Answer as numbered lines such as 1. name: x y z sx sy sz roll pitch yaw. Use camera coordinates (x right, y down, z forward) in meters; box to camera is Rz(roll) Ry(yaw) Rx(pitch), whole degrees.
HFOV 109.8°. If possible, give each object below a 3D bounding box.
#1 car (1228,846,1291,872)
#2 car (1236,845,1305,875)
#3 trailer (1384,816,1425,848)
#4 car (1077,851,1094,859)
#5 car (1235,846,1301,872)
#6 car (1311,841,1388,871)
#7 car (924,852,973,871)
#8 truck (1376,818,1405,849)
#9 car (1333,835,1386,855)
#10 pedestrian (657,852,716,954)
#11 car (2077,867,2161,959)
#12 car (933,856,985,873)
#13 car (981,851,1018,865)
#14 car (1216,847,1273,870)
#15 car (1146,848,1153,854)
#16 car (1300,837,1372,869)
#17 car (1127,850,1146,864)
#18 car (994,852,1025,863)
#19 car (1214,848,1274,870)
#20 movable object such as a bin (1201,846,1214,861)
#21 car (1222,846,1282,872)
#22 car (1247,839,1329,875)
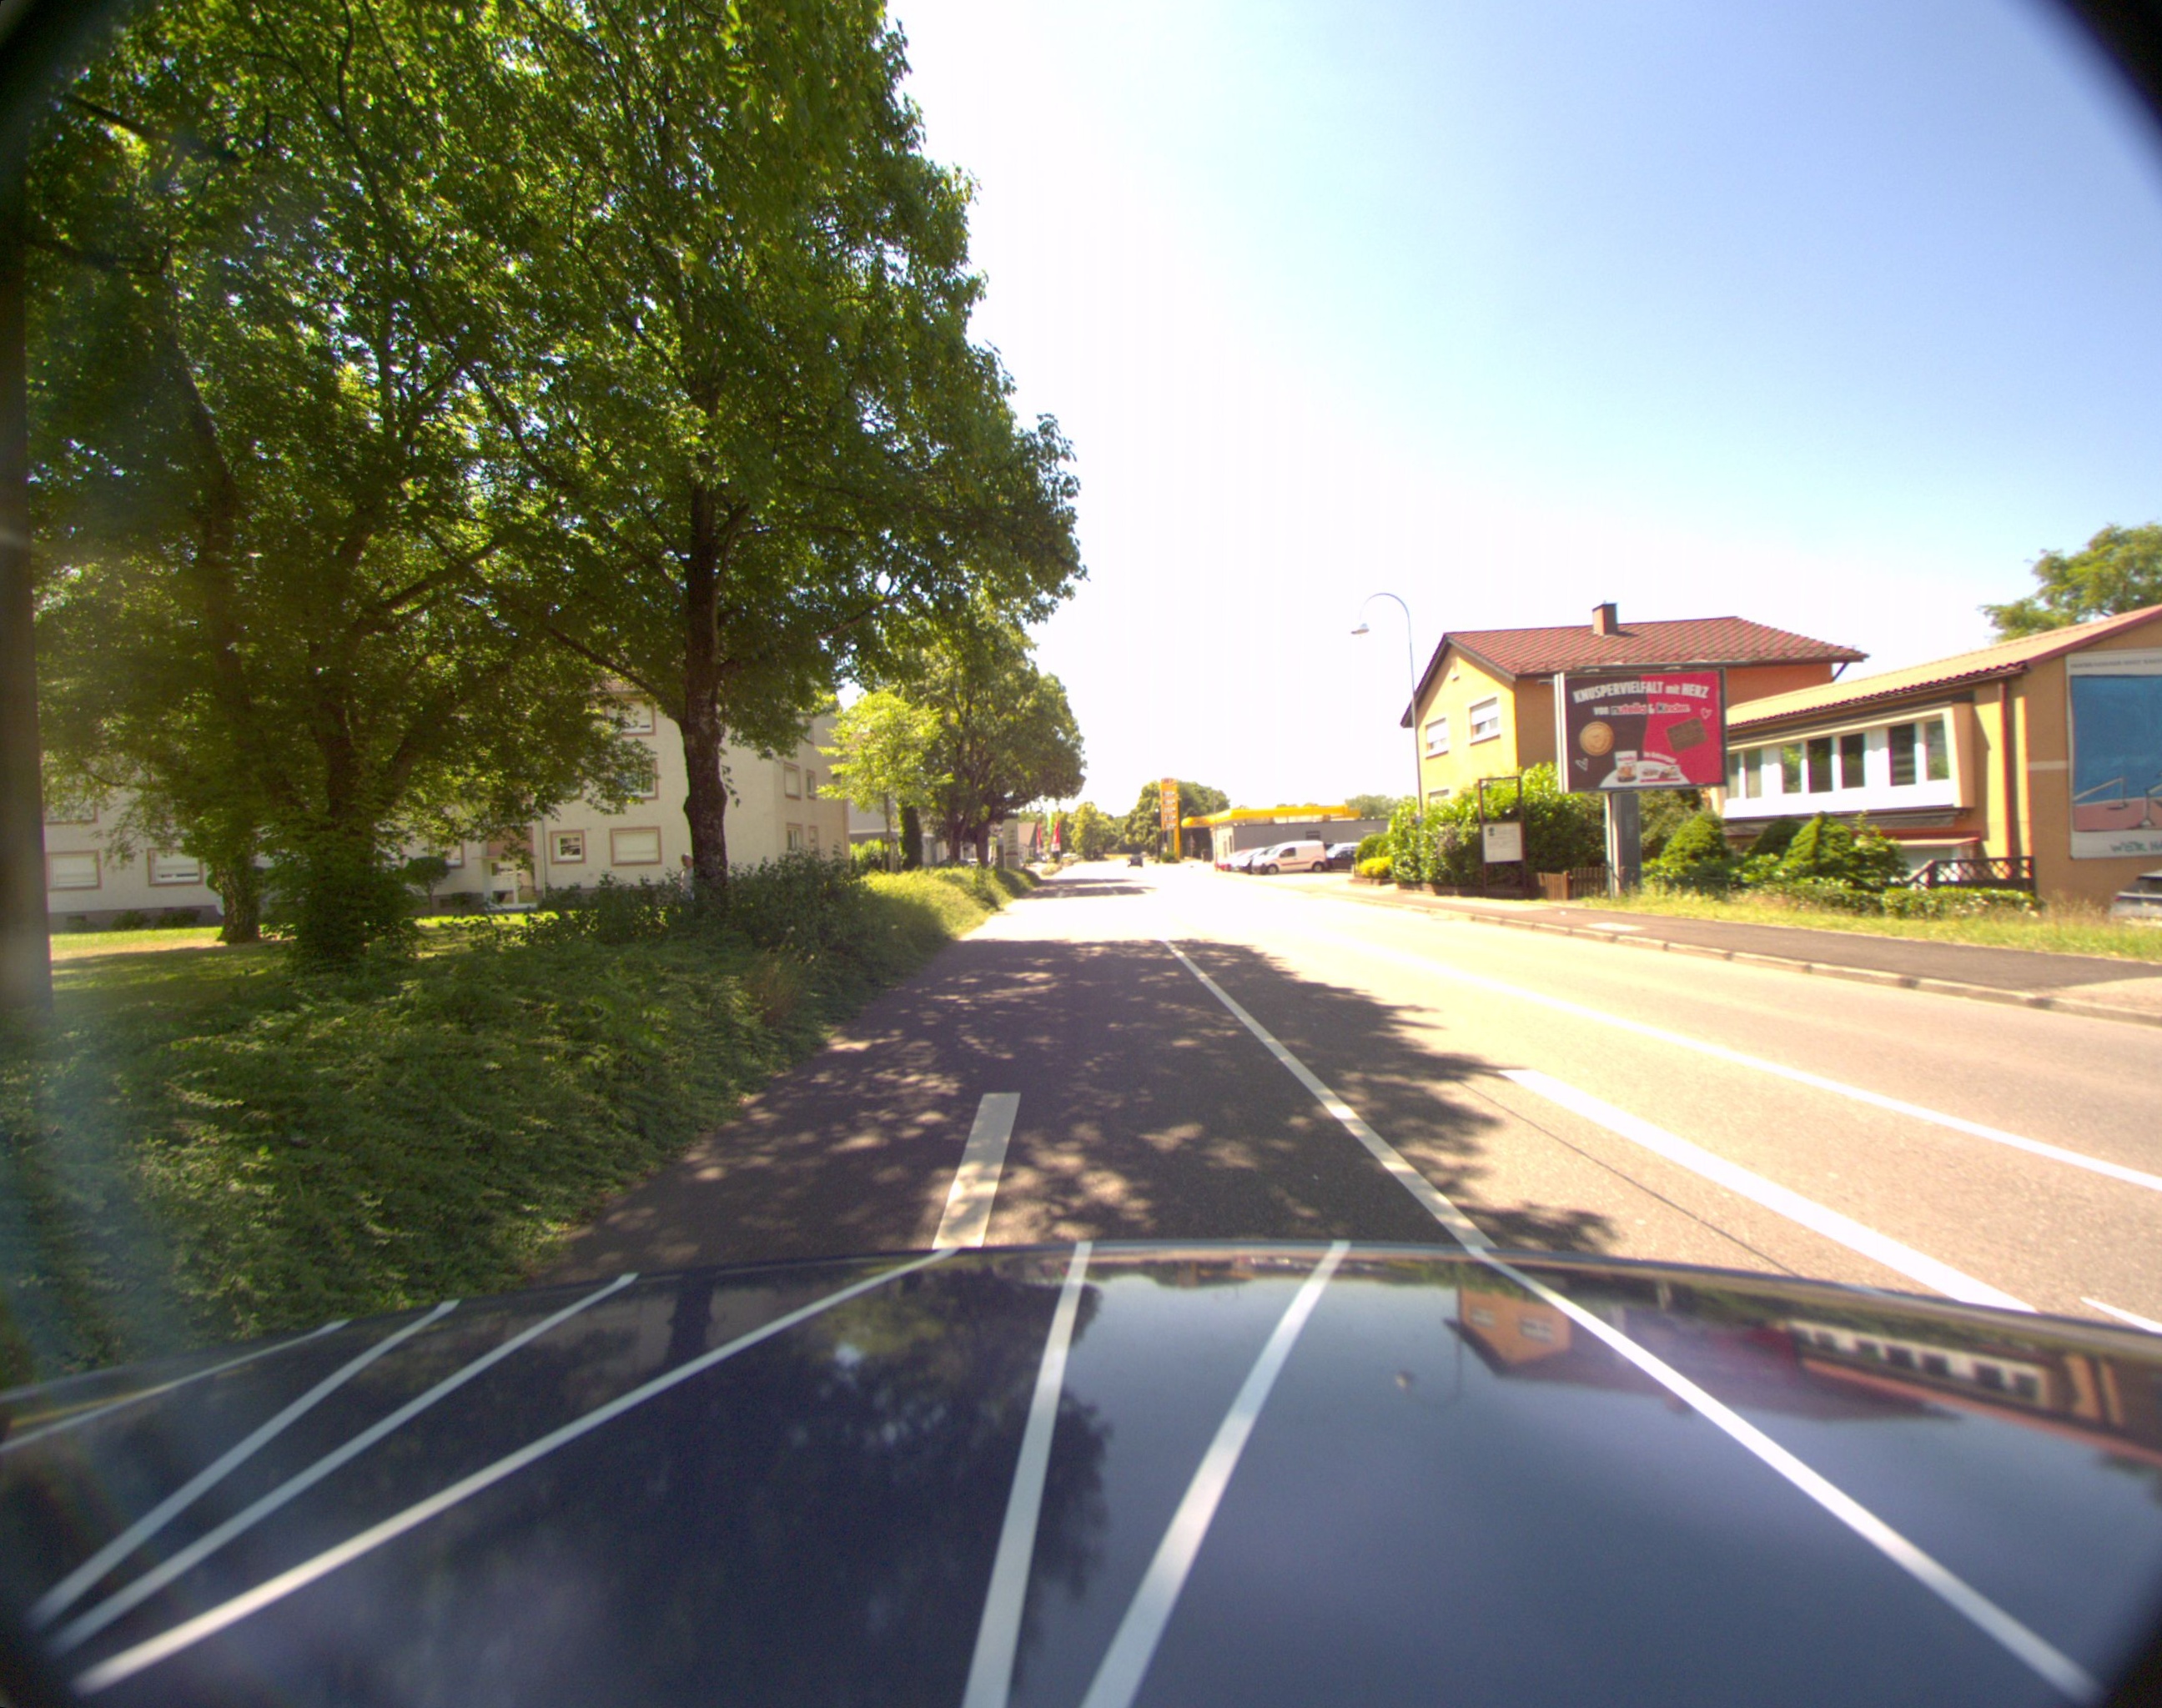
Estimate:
1. car: 11.887 0.298 50.795 3.673 1.572 1.922 -2 1 -2
2. car: 11.517 0.337 46.418 3.673 1.663 1.922 -2 1 -2
3. trailer: 34.576 -2.281 81.427 1.869 3.200 5.914 -2 0 1
4. car: 0.881 0.163 150.502 3.405 1.498 1.582 -1 1 2
5. car: 11.928 0.290 48.687 3.673 1.523 1.922 -2 1 -2
6. car: 16.273 0.135 46.147 3.997 1.559 1.830 -3 0 -1
7. car: -11.570 0.626 66.463 3.997 1.541 1.797 -1 1 0
8. truck: 34.655 -2.275 85.058 1.850 3.223 3.190 -2 0 1
9. car: 24.603 -0.796 67.286 3.996 1.575 1.754 -2 1 2
10. pedestrian: -7.637 0.931 14.735 0.705 1.903 0.660 -2 1 3
11. car: 19.642 0.937 12.415 4.035 1.442 1.781 -1 0 6
12. car: -11.221 0.949 69.873 4.362 1.363 1.952 -3 1 -22
13. car: -11.163 0.545 104.447 4.586 1.632 2.002 -2 1 20
14. car: 11.901 0.322 55.512 3.673 1.449 1.892 -2 1 -2
15. car: 20.397 -0.955 225.330 1.973 1.663 4.250 -2 0 5
16. car: 16.236 -0.058 48.476 3.912 1.850 2.000 -2 1 -1
17. car: 6.238 0.341 85.690 1.714 1.486 4.277 -2 0 0
18. car: -10.475 0.519 111.369 3.992 1.452 1.807 -2 1 16
19. car: 12.343 0.382 57.713 4.136 1.435 1.826 -2 1 0
20. movable object such as a bin: 13.497 -0.087 81.146 0.954 1.508 1.428 -6 -1 1
21. car: 11.889 0.339 52.989 3.673 1.596 1.881 -2 1 -2
22. car: 12.040 0.155 44.319 4.105 1.887 1.999 -2 1 -4
